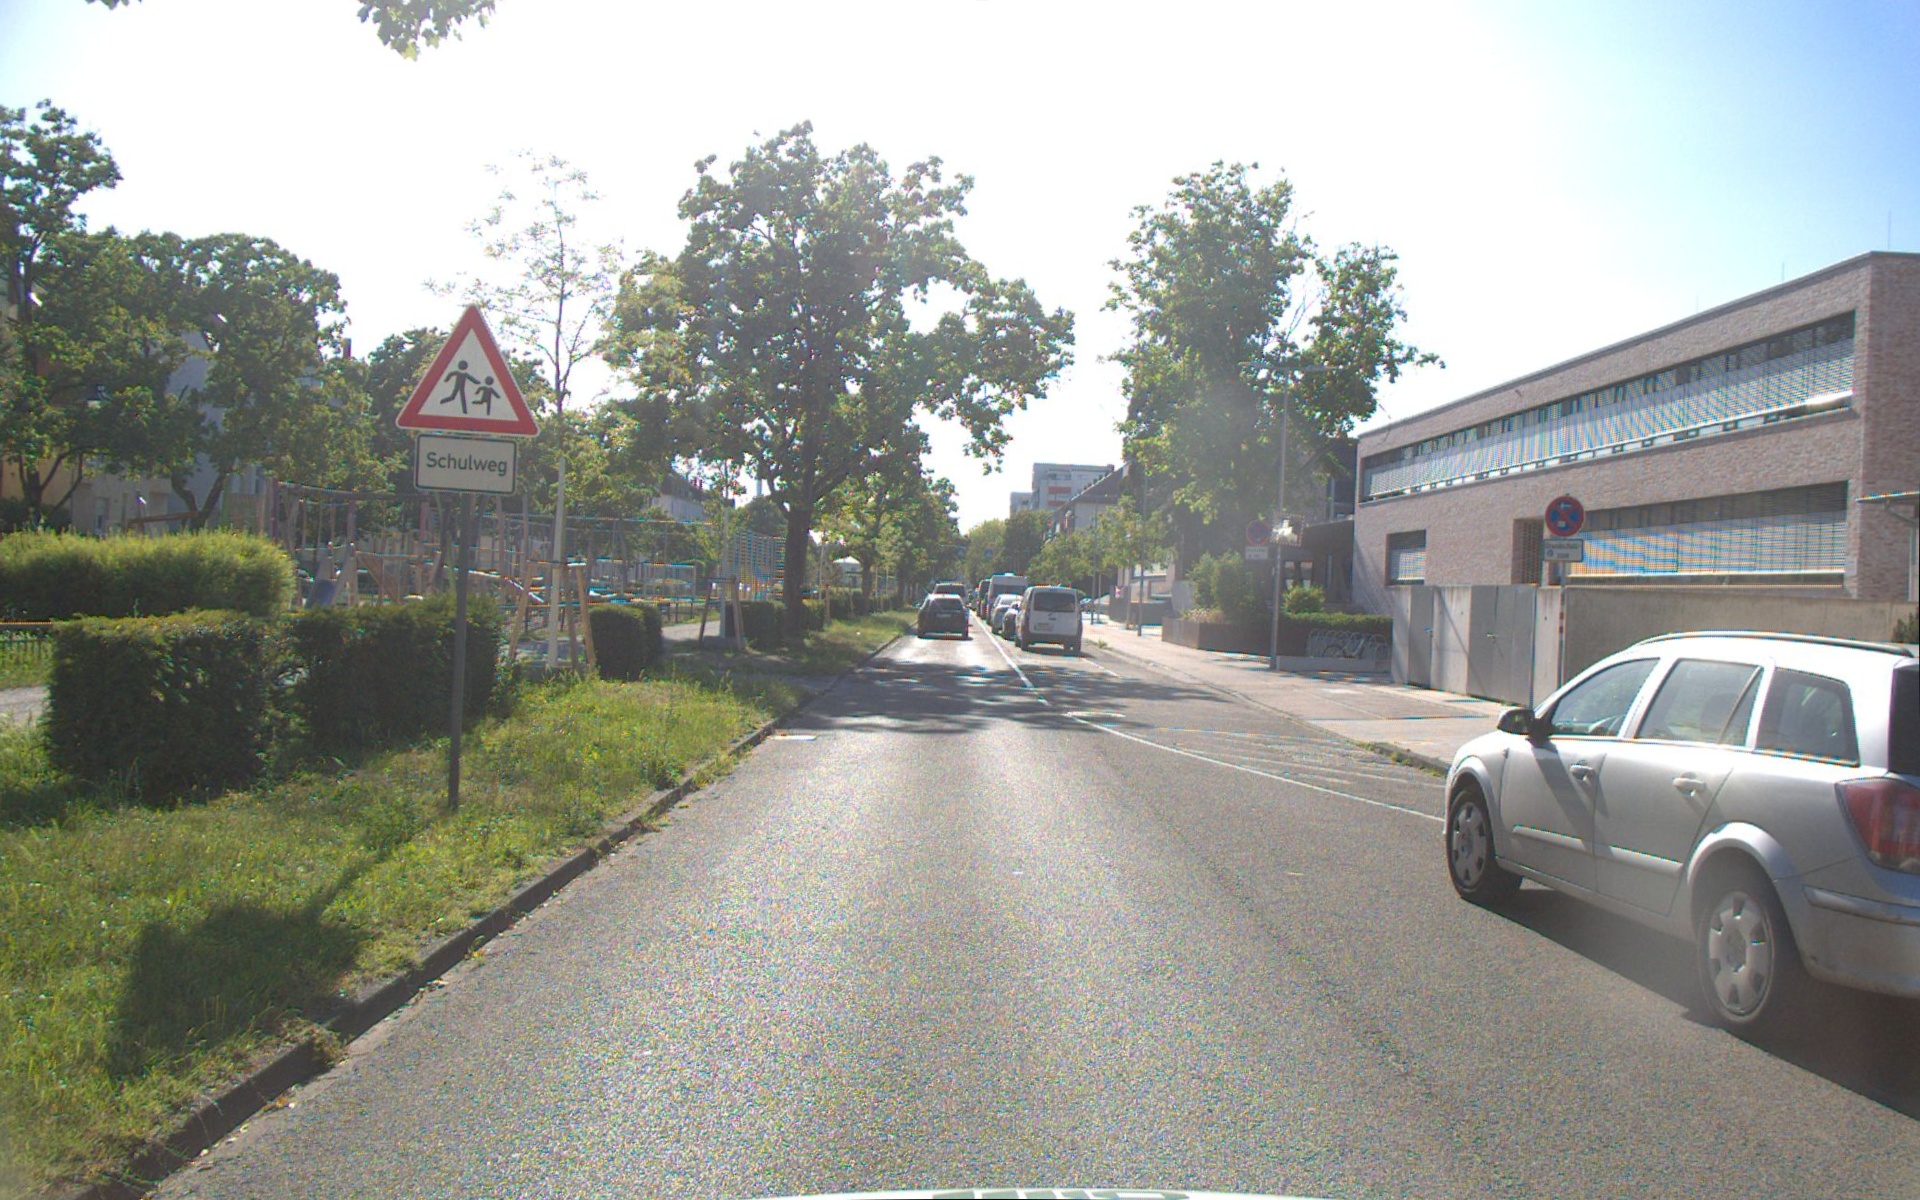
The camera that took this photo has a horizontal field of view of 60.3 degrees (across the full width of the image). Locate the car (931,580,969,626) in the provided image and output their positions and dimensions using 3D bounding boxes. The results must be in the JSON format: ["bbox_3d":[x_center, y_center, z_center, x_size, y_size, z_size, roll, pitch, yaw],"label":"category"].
[{"bbox_3d":[-0.460,0.125,82.120,1.757,2.159,4.000,2,0,0],"label":"car"}]

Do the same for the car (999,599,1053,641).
[{"bbox_3d":[2.312,0.697,58.961,1.667,1.348,4.129,3,0,-1],"label":"car"}]

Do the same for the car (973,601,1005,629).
[{"bbox_3d":[1.765,0.907,103.190,1.808,1.669,4.503,2,0,-1],"label":"car"}]

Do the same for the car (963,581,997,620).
[{"bbox_3d":[1.367,0.012,115.460,2.072,2.559,6.530,2,0,-2],"label":"car"}]

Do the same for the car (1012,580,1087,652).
[{"bbox_3d":[2.606,0.438,48.866,1.771,1.941,4.460,3,0,-2],"label":"car"}]

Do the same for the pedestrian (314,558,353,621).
[{"bbox_3d":[-16.948,-0.281,44.746,0.634,1.690,0.650,2,0,18],"label":"pedestrian"}]

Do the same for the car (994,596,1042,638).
[{"bbox_3d":[2.259,0.645,65.355,1.667,1.504,4.173,3,0,0],"label":"car"}]

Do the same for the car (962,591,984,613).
[{"bbox_3d":[1.180,0.164,149.485,1.757,1.887,4.414,2,0,2],"label":"car"}]

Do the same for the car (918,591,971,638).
[{"bbox_3d":[-0.510,0.496,57.876,1.757,1.536,4.000,2,0,0],"label":"car"}]

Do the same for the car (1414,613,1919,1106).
[{"bbox_3d":[3.639,0.886,7.445,1.627,1.490,4.407,4,0,-4],"label":"car"}]

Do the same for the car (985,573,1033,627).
[{"bbox_3d":[2.493,0.013,85.564,2.195,2.619,5.432,3,0,0],"label":"car"}]

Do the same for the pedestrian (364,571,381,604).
[{"bbox_3d":[-30.441,-0.652,85.679,0.635,1.690,0.650,1,0,0],"label":"pedestrian"}]

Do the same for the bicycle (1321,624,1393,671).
[{"bbox_3d":[9.937,1.183,41.419,1.635,1.047,0.500,4,0,-3],"label":"bicycle"}]

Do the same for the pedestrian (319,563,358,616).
[{"bbox_3d":[-16.319,-0.274,43.441,0.634,1.352,0.650,2,0,18],"label":"pedestrian"}]

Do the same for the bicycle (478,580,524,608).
[{"bbox_3d":[-19.274,-0.249,69.515,1.758,1.127,0.500,2,0,-2],"label":"bicycle"}]
